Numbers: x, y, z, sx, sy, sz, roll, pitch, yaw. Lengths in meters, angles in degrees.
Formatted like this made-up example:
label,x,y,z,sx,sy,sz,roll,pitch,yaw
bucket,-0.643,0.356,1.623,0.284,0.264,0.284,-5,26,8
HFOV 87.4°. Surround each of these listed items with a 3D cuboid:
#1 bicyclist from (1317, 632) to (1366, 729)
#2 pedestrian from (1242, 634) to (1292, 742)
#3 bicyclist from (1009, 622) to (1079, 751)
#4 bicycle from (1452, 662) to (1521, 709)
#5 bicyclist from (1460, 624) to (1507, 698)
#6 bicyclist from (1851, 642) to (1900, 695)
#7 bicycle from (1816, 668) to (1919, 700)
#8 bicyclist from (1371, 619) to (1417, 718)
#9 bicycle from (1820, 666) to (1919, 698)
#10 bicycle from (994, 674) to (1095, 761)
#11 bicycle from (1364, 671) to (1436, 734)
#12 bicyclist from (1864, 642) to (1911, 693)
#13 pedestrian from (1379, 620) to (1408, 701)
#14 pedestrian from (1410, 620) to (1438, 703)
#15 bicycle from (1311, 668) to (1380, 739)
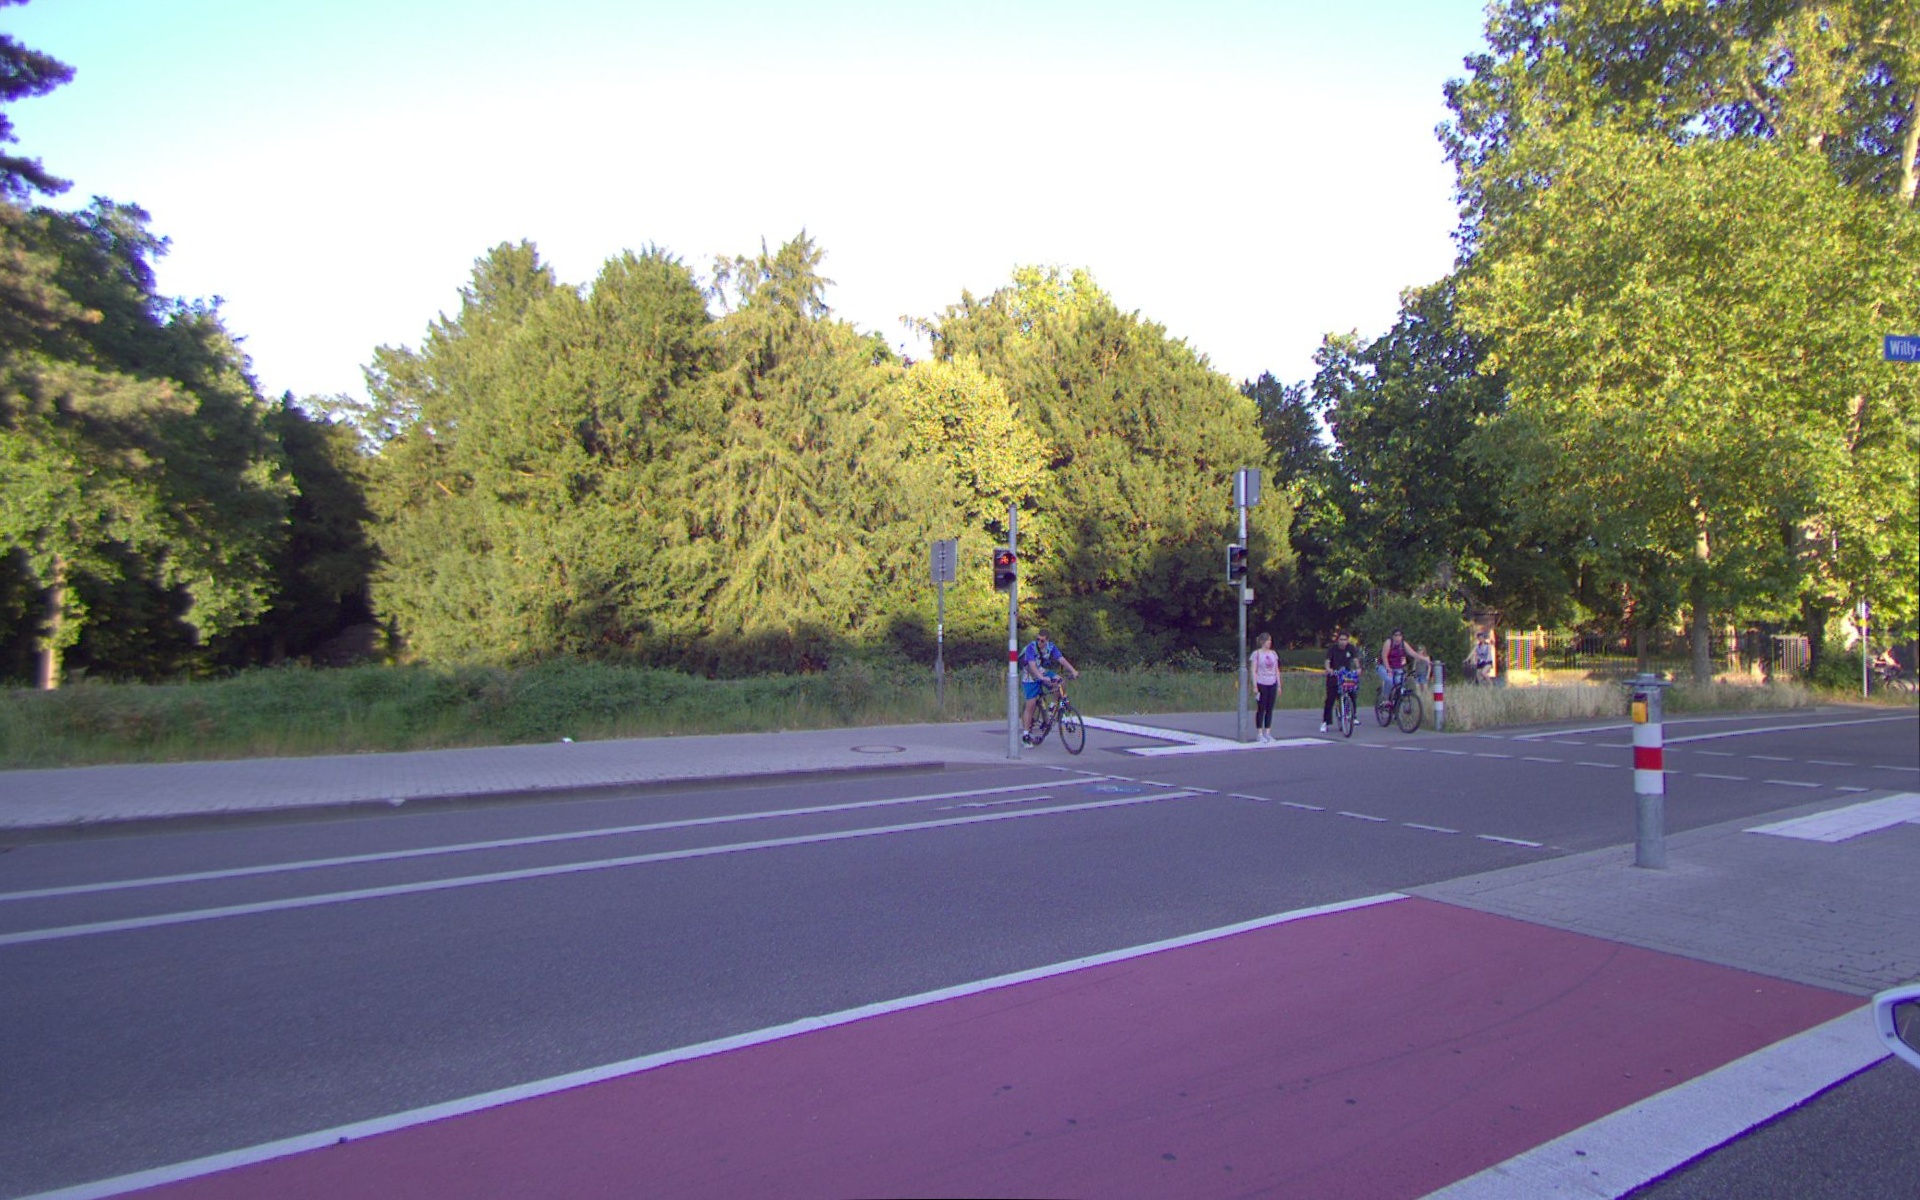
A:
label,x,y,z,sx,sy,sz,roll,pitch,yaw
bicyclist,6.695,1.398,17.642,0.618,1.671,0.640,0,-2,1
pedestrian,4.996,1.409,16.377,0.492,1.718,0.604,1,-2,-28
bicyclist,1.245,1.259,14.920,0.730,1.848,0.705,1,-1,-34
bicycle,12.894,2.062,24.571,2.279,1.046,0.733,2,-1,-41
bicyclist,12.758,1.473,24.496,0.937,1.751,0.748,2,-1,-43
bicyclist,29.276,2.174,32.115,0.743,1.652,0.954,1,-2,-29
bicycle,29.165,2.674,32.259,0.765,0.936,2.420,1,-2,-29
bicyclist,8.028,1.261,18.599,0.564,1.803,0.640,0,-2,1
bicycle,30.516,2.734,33.687,0.765,0.936,2.420,1,-2,-29
bicycle,1.229,1.715,15.058,0.760,1.115,2.114,1,-2,-18
bicycle,8.021,1.847,18.392,0.568,1.043,1.772,0,-2,1
bicyclist,30.740,2.223,33.288,0.743,1.652,0.954,1,-2,-29
pedestrian,11.018,1.525,25.544,0.638,2.040,0.606,0,-1,22
pedestrian,11.644,1.524,25.211,0.584,2.040,0.642,0,-1,20
bicycle,6.688,1.781,17.497,0.620,1.126,1.569,0,-2,1
